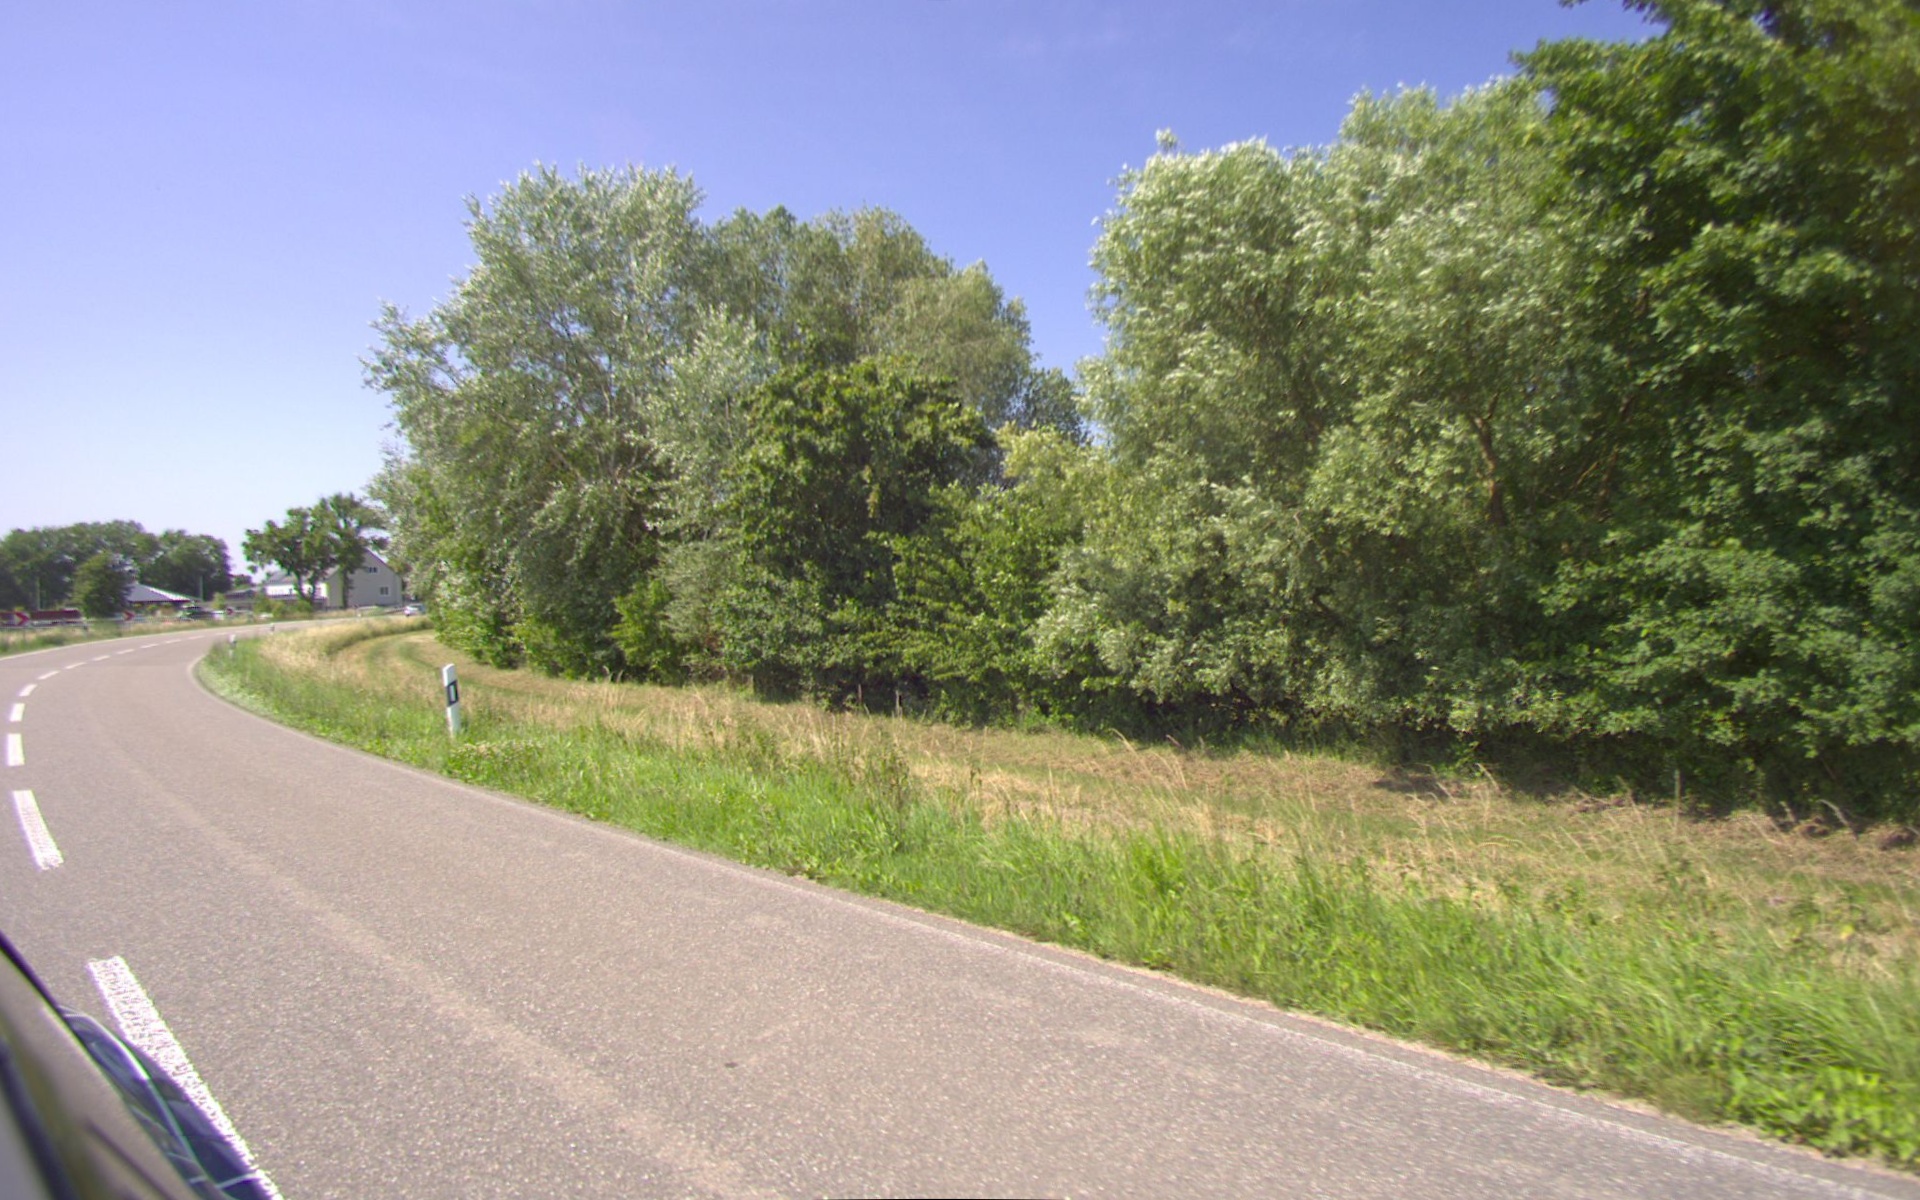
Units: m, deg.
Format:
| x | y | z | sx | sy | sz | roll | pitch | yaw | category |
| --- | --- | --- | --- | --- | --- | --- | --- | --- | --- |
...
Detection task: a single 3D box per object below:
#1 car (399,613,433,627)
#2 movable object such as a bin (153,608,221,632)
| x | y | z | sx | sy | sz | roll | pitch | yaw | category |
| --- | --- | --- | --- | --- | --- | --- | --- | --- | --- |
| -57.918 | 2.100 | 107.791 | 1.761 | 1.438 | 4.066 | 2 | -1 | -7 | car |
| -100.597 | 2.553 | 131.814 | 2.990 | 2.790 | 6.461 | -3 | 0 | 20 | movable object such as a bin |
